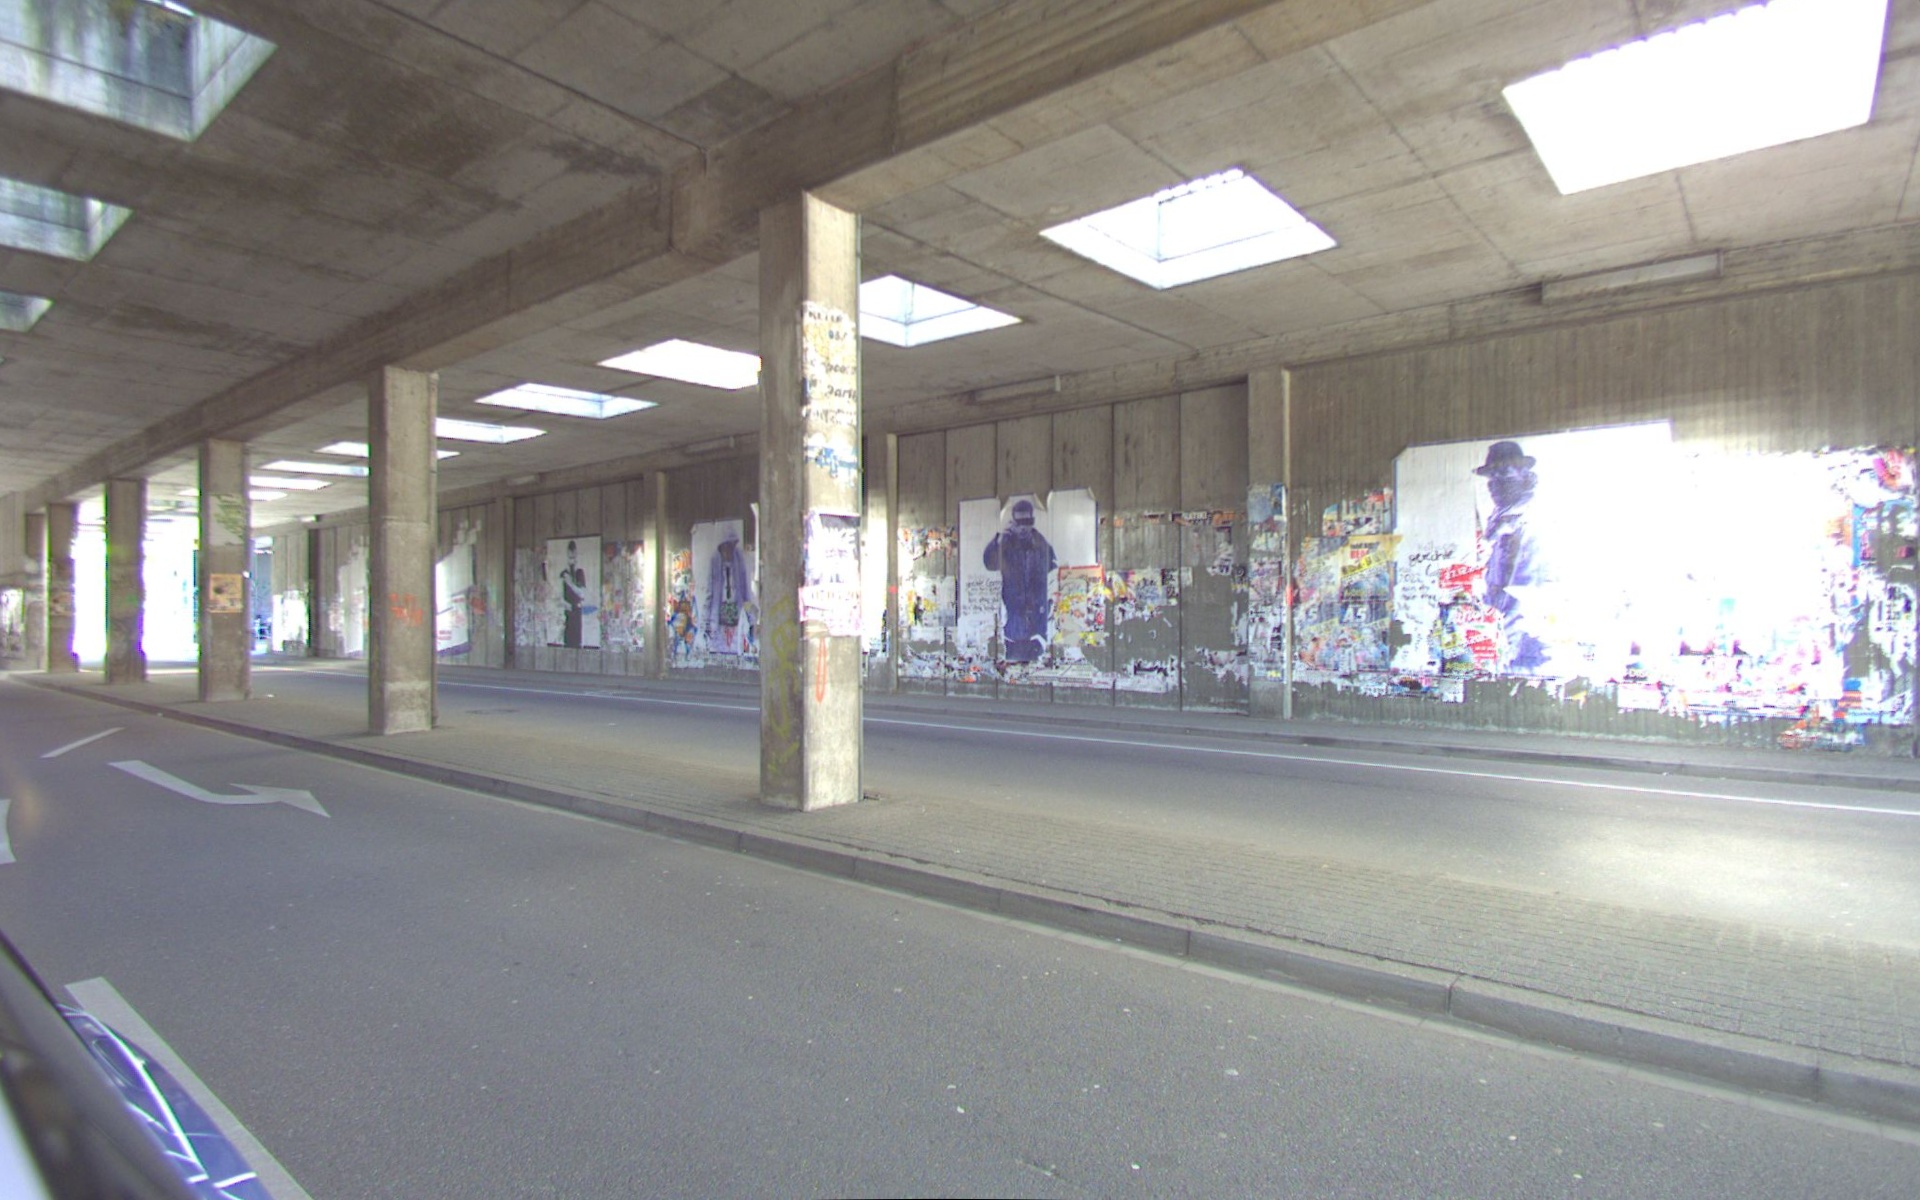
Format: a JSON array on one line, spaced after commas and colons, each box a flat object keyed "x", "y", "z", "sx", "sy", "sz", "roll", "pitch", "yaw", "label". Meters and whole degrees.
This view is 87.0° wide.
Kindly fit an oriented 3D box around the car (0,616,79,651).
[{"x": -55.446, "y": 1.958, "z": 59.588, "sx": 2.359, "sy": 2.029, "sz": 5.082, "roll": -1, "pitch": -2, "yaw": 39, "label": "car"}]
